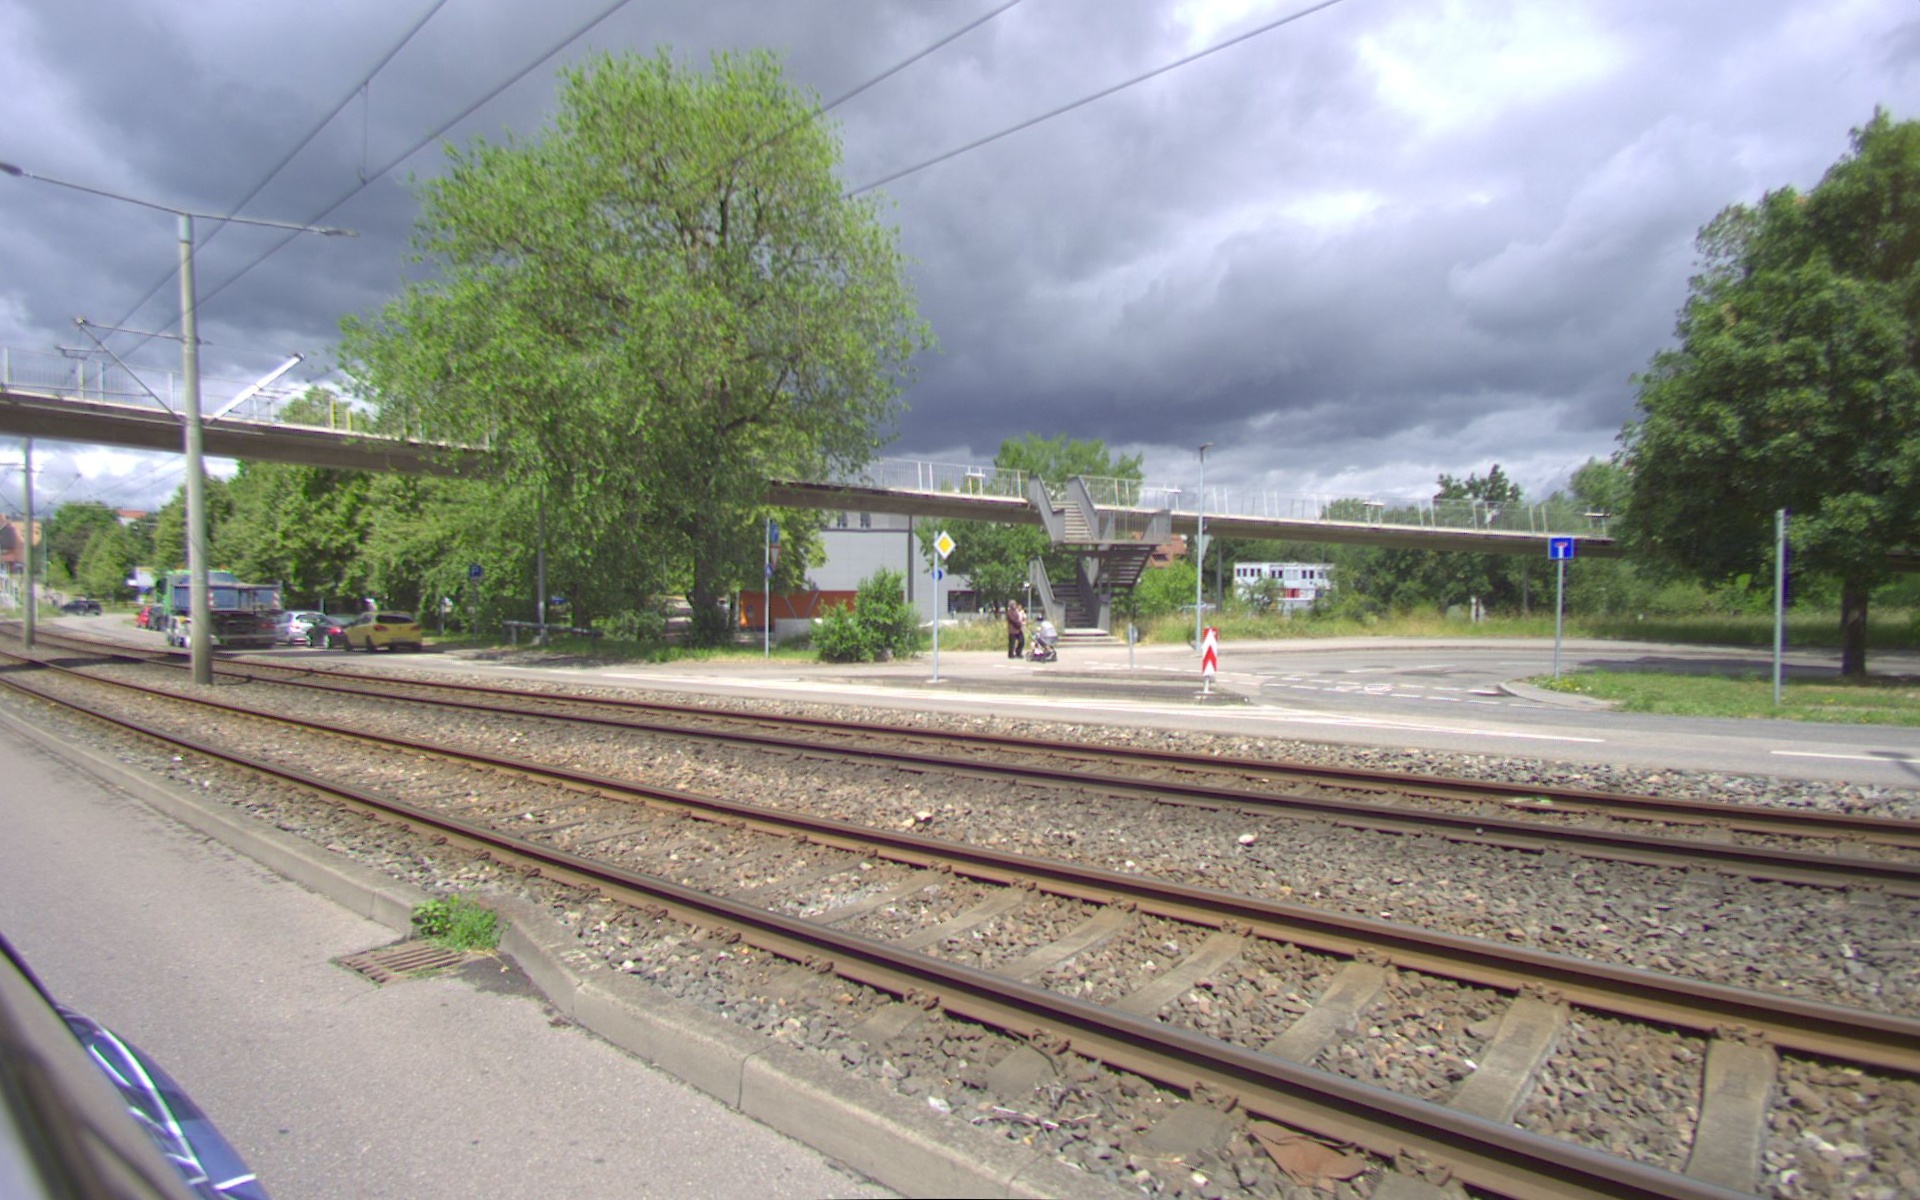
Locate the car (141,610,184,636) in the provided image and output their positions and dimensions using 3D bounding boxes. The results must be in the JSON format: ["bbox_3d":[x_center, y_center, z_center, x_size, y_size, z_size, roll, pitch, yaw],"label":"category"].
[{"bbox_3d":[-51.207,1.459,64.944,4.376,1.617,1.562,-1,-1,44],"label":"car"}]

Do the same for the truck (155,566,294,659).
[{"bbox_3d":[-29.885,0.361,40.951,9.032,3.344,2.840,1,3,43],"label":"truck"}]

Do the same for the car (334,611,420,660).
[{"bbox_3d":[-21.050,1.235,36.488,3.900,1.461,1.670,2,3,44],"label":"car"}]

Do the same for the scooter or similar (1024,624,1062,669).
[{"bbox_3d":[2.301,1.285,28.195,0.788,1.155,0.702,1,3,45],"label":"scooter or similar"}]

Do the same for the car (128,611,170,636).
[{"bbox_3d":[-55.447,1.591,69.180,3.660,1.462,1.596,2,3,41],"label":"car"}]

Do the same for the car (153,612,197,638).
[{"bbox_3d":[-47.592,1.511,61.348,1.594,1.472,4.010,2,-1,-45],"label":"car"}]

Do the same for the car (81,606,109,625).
[{"bbox_3d":[-82.488,1.491,96.486,4.000,1.585,1.596,1,3,43],"label":"car"}]

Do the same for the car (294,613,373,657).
[{"bbox_3d":[-24.562,1.334,39.631,3.900,1.461,1.670,2,3,44],"label":"car"}]

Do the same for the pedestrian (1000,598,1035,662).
[{"bbox_3d":[1.645,0.842,28.933,0.718,1.769,0.654,1,3,44],"label":"pedestrian"}]
